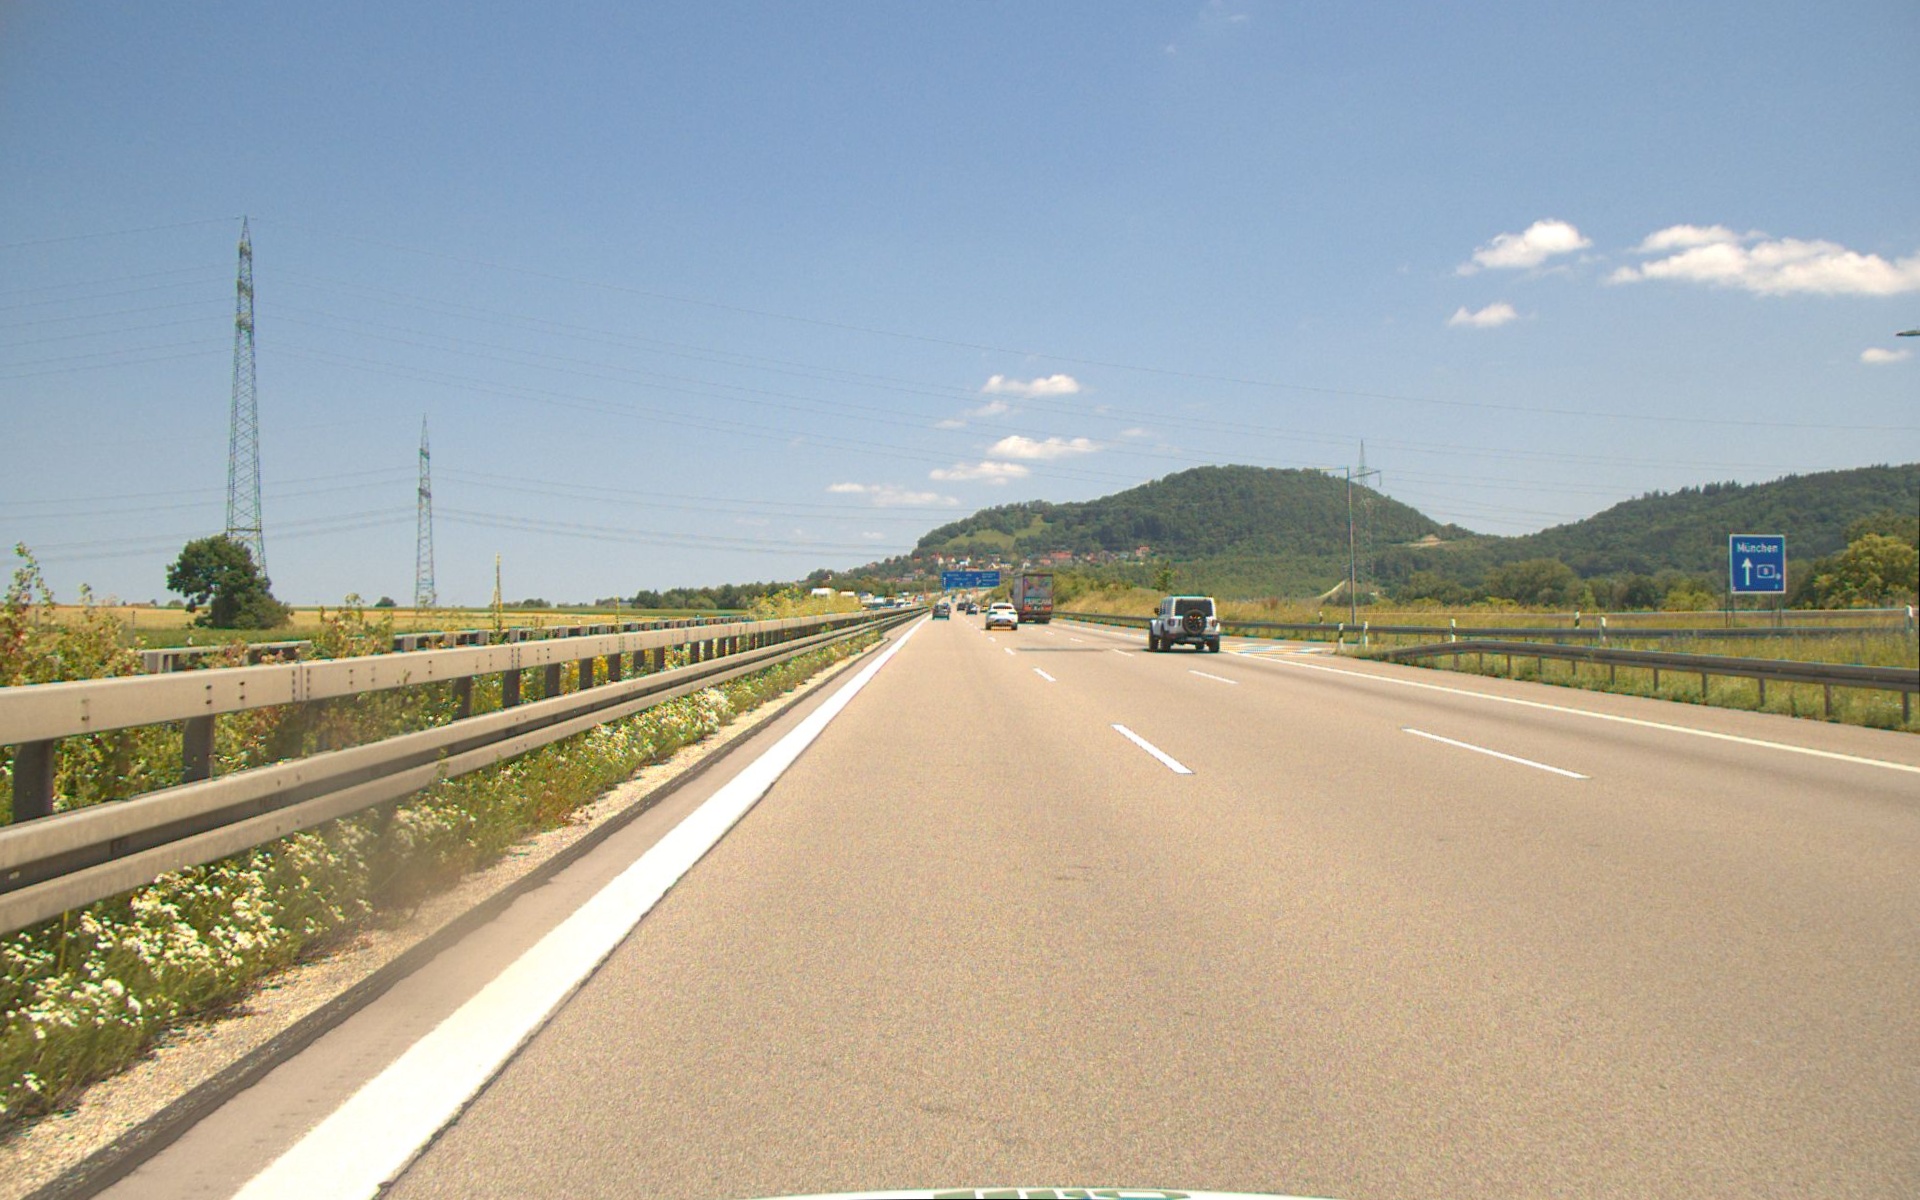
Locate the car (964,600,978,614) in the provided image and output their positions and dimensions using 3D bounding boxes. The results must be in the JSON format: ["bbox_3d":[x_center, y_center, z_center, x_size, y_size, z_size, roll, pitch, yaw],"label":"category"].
[{"bbox_3d":[1.569,1.012,241.502,1.953,2.049,4.000,1,-1,0],"label":"car"}]

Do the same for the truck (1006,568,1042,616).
[{"bbox_3d":[5.692,-0.678,147.488,2.697,4.091,6.785,1,-1,-2],"label":"truck"}]

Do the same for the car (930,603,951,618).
[{"bbox_3d":[-1.931,1.074,162.318,1.953,1.413,4.000,1,-1,0],"label":"car"}]

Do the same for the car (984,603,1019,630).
[{"bbox_3d":[2.472,0.999,100.503,1.875,1.608,5.229,1,-1,-1],"label":"car"}]

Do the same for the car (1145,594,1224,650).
[{"bbox_3d":[7.570,0.713,56.122,1.993,1.836,4.249,0,0,-1],"label":"car"}]

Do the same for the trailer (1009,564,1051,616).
[{"bbox_3d":[5.889,-0.757,140.853,2.670,4.228,11.804,1,-1,-1],"label":"trailer"}]
